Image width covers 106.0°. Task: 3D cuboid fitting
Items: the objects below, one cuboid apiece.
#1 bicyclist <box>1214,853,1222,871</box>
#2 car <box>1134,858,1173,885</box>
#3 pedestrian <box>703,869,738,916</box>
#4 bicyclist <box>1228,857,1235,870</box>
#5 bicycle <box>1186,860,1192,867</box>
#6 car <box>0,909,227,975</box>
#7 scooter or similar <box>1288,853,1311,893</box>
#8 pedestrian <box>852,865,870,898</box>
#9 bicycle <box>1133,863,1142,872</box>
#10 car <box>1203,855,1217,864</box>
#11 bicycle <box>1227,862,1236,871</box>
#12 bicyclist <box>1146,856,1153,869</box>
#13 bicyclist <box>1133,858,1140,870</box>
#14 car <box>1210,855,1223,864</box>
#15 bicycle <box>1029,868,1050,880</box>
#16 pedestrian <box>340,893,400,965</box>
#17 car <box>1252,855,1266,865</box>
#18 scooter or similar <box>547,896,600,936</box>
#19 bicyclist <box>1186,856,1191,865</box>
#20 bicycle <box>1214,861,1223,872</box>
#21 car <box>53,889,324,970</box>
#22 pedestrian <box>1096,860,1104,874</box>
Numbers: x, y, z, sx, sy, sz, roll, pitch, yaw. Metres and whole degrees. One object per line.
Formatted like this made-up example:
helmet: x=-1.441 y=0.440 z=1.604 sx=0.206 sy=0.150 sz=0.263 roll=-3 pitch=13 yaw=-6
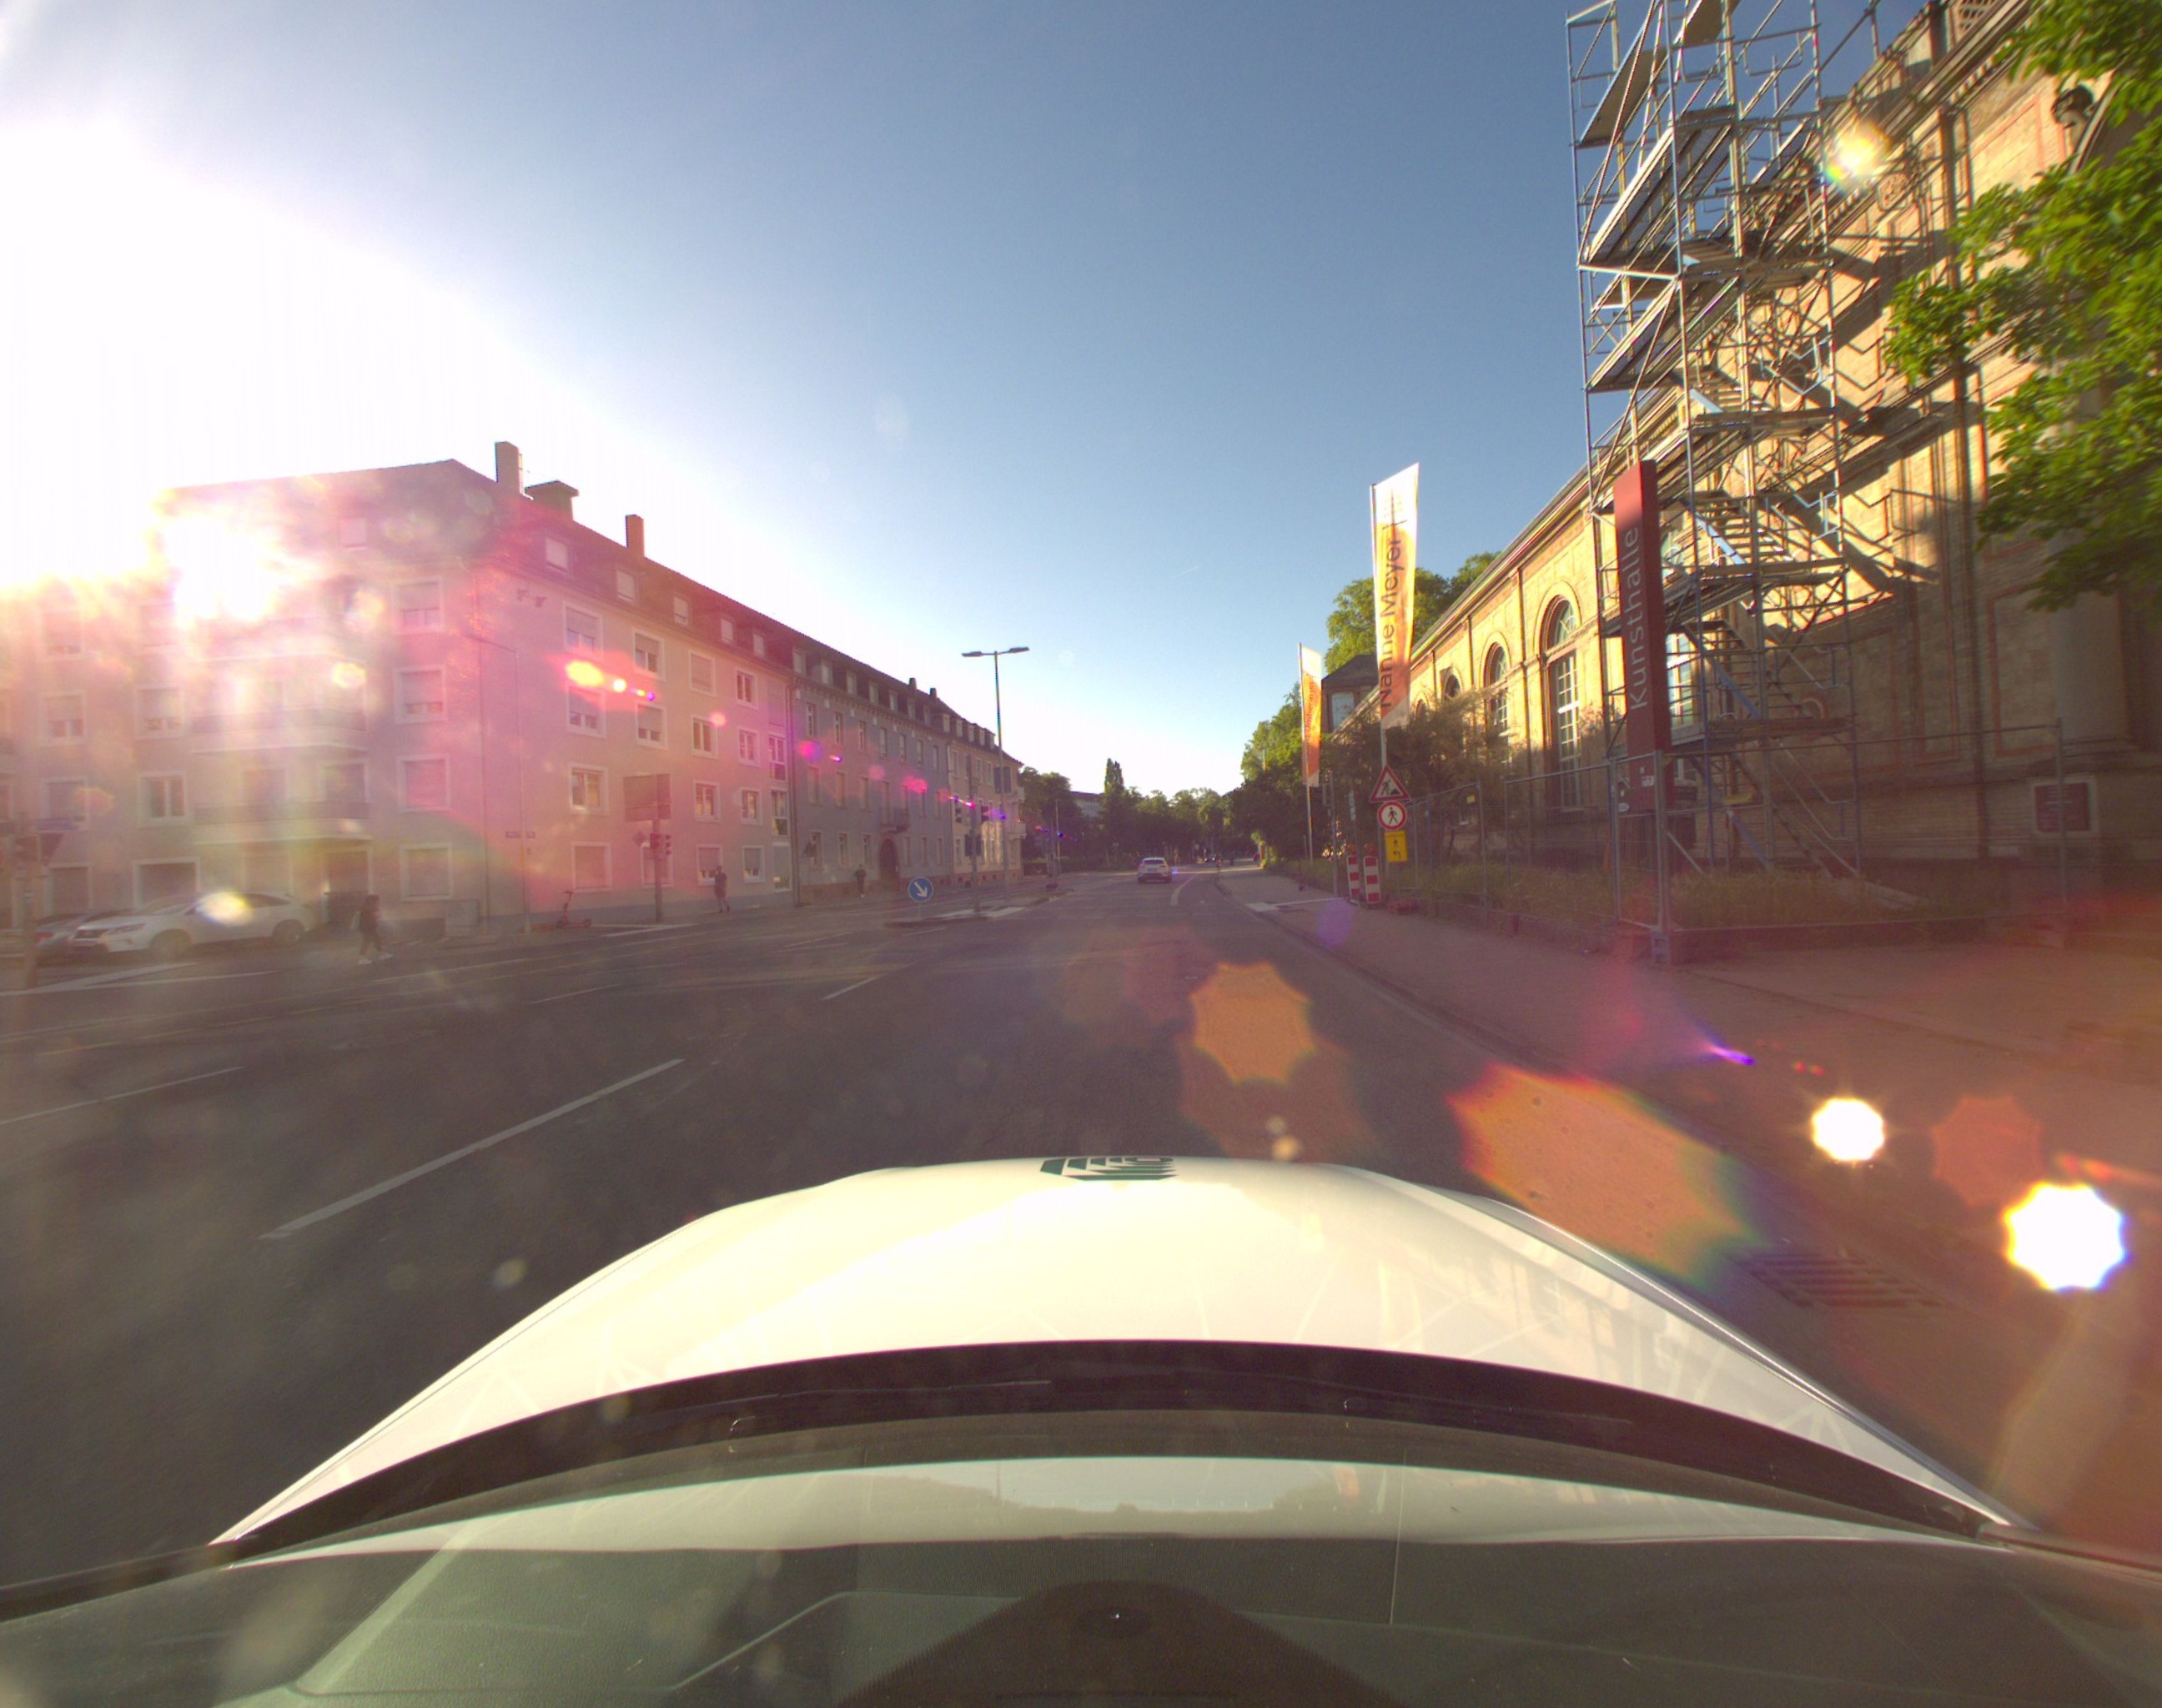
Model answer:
bicyclist: x=12.864 y=0.728 z=76.365 sx=0.631 sy=1.614 sz=1.288 roll=-2 pitch=-1 yaw=13
car: x=4.345 y=1.031 z=48.504 sx=1.982 sy=1.453 sz=4.009 roll=-3 pitch=-1 yaw=8
pedestrian: x=-14.759 y=1.569 z=33.357 sx=0.862 sy=1.863 sz=1.018 roll=-1 pitch=0 yaw=11
bicyclist: x=18.487 y=1.126 z=100.140 sx=0.741 sy=1.537 sz=0.974 roll=-2 pitch=-1 yaw=18
bicycle: x=19.144 y=1.732 z=144.272 sx=0.592 sy=1.120 sz=2.035 roll=-6 pitch=-2 yaw=15
car: x=-26.128 y=2.309 z=22.030 sx=1.598 sy=1.310 sz=4.006 roll=-3 pitch=-1 yaw=5
scooter or similar: x=7.640 y=0.643 z=28.524 sx=0.552 sy=1.308 sz=1.837 roll=-3 pitch=-1 yaw=10
pedestrian: x=-12.507 y=1.559 z=46.318 sx=0.627 sy=1.846 sz=1.016 roll=0 pitch=0 yaw=10
bicycle: x=7.171 y=1.759 z=104.004 sx=0.732 sy=0.995 sz=2.117 roll=-4 pitch=0 yaw=14
car: x=23.039 y=0.966 z=145.332 sx=1.797 sy=1.419 sz=4.576 roll=-3 pitch=-1 yaw=18
bicycle: x=18.496 y=1.503 z=100.079 sx=0.747 sy=1.026 sz=1.878 roll=-2 pitch=-1 yaw=18
bicyclist: x=8.899 y=1.106 z=105.863 sx=0.631 sy=1.710 sz=0.741 roll=-6 pitch=-1 yaw=12
bicyclist: x=7.105 y=1.278 z=104.041 sx=0.732 sy=1.485 sz=0.668 roll=-5 pitch=-1 yaw=15
car: x=26.380 y=1.058 z=158.716 sx=1.744 sy=1.459 sz=4.019 roll=-3 pitch=-1 yaw=19
bicycle: x=-4.756 y=2.275 z=93.903 sx=2.302 sy=1.230 sz=0.562 roll=-3 pitch=-1 yaw=16
pedestrian: x=-16.590 y=1.730 z=19.017 sx=0.627 sy=1.583 sz=0.820 roll=0 pitch=0 yaw=10
car: x=32.675 y=1.103 z=149.415 sx=1.913 sy=1.533 sz=4.019 roll=-4 pitch=-1 yaw=18
scooter or similar: x=-16.357 y=1.979 z=26.280 sx=0.530 sy=1.185 sz=1.478 roll=-2 pitch=0 yaw=11
bicyclist: x=19.079 y=1.193 z=144.234 sx=0.624 sy=1.522 sz=0.727 roll=-6 pitch=-1 yaw=15
bicycle: x=12.866 y=1.186 z=76.252 sx=0.638 sy=1.025 sz=2.220 roll=-1 pitch=0 yaw=13
car: x=-23.803 y=1.930 z=22.052 sx=1.984 sy=1.686 sz=4.621 roll=-3 pitch=0 yaw=5
pedestrian: x=2.638 y=1.763 z=112.362 sx=0.849 sy=1.851 sz=1.005 roll=-4 pitch=-1 yaw=16
